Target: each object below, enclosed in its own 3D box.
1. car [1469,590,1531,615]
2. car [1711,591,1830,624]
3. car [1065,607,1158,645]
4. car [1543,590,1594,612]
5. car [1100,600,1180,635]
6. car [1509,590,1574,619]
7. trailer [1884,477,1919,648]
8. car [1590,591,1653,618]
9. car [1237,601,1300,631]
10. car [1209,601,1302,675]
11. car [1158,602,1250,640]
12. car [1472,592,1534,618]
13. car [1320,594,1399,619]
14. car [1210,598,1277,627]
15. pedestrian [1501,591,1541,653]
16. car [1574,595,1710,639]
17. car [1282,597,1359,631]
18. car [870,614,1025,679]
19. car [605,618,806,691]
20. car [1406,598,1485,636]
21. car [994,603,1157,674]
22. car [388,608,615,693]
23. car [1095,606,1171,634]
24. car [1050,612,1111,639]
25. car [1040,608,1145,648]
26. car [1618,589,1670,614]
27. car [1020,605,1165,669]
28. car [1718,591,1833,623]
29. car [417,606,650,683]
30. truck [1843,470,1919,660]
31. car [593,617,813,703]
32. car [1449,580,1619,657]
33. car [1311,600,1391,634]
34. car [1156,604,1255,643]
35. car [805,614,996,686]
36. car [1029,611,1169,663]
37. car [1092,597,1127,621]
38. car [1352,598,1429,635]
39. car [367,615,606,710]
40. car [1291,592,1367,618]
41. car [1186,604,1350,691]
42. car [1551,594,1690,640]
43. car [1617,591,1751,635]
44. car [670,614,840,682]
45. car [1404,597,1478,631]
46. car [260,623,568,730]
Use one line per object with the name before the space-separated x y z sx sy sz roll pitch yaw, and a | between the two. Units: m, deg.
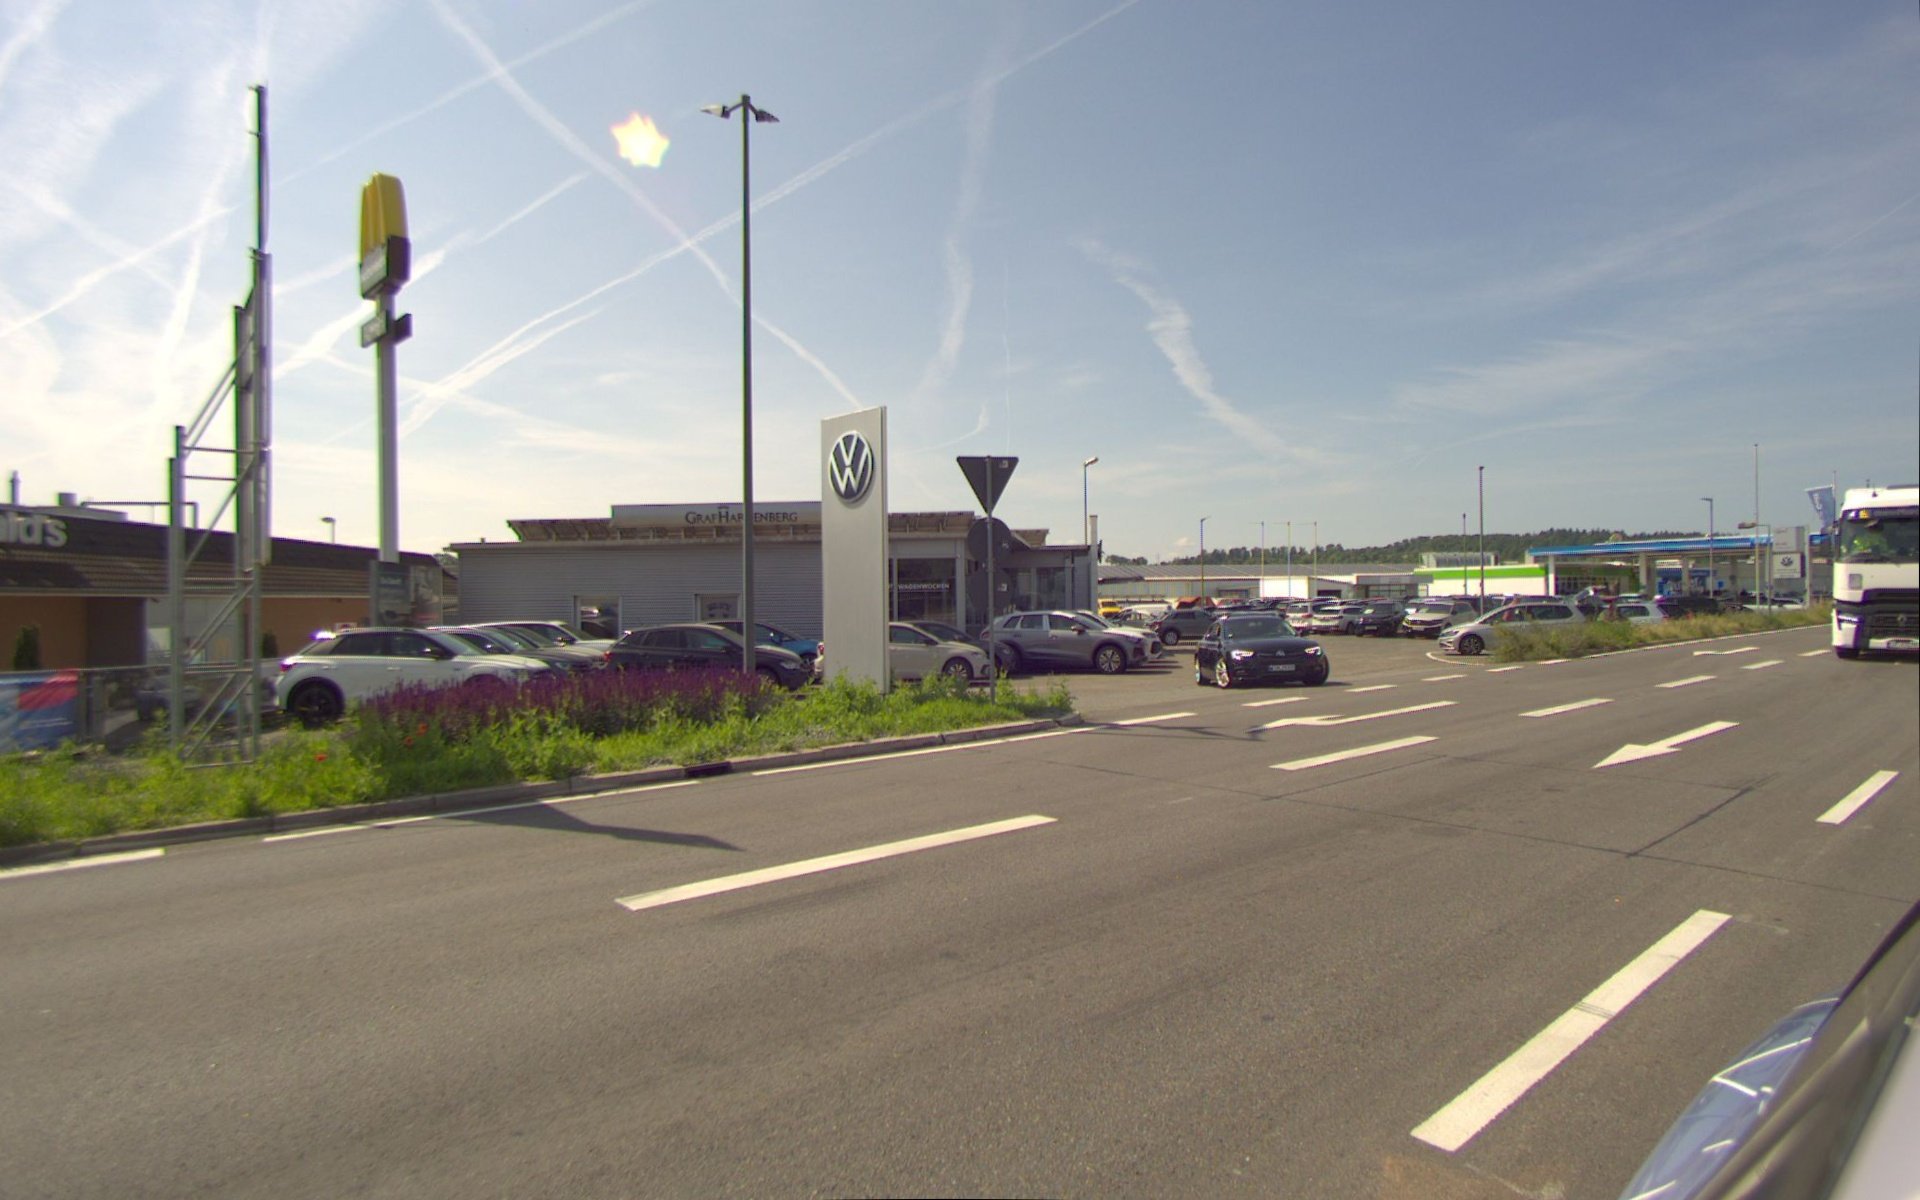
car | 36.978 0.134 69.323 4.449 1.675 1.777 0 1 -32
car | 41.935 0.364 52.511 4.487 1.675 1.762 0 1 24
car | 6.966 1.190 46.888 4.095 1.675 1.774 0 0 4
car | 45.690 0.067 75.969 4.242 1.600 1.722 -1 1 -35
car | 10.779 1.012 60.565 4.484 1.973 1.763 0 0 22
car | 35.504 0.238 61.748 4.452 1.675 1.776 -1 1 -35
trailer | 28.659 -0.975 28.528 11.095 4.281 2.611 -1 1 -41
car | 41.089 0.247 62.860 4.452 1.600 1.776 -1 1 -35
car | 18.783 0.926 61.527 4.464 1.675 1.771 -1 1 -45
car | 7.598 0.917 25.785 1.756 1.675 4.045 -2 0 23
car | 11.246 0.963 46.874 4.009 1.675 1.772 0 0 9
car | 34.347 0.272 63.974 4.452 1.545 1.691 -1 1 -35
car | 24.709 0.378 62.607 4.390 1.449 1.827 0 1 -19
car | 17.922 0.765 63.914 4.453 1.675 1.775 -1 1 -36
pedestrian | 17.917 0.688 32.347 0.974 1.936 0.740 0 0 15
car | 26.118 0.624 38.877 3.941 1.572 1.768 0 1 14
car | 19.921 0.727 55.888 4.452 1.751 1.823 -1 1 -35
car | -0.366 1.124 25.209 3.719 1.495 1.752 0 1 -5
car | -5.521 1.173 22.358 4.072 1.468 1.798 0 1 -5
car | 23.007 0.761 47.871 4.633 1.675 1.904 -1 1 -45
car | 3.045 0.954 26.473 3.974 1.692 1.765 0 1 20
car | -9.685 1.036 21.630 4.087 1.692 1.778 0 0 -5
car | 9.917 1.138 57.930 4.028 1.510 1.764 0 1 21
car | 8.496 1.797 71.410 3.899 1.751 1.953 1 1 43
car | 5.797 1.221 44.646 4.468 1.675 1.774 0 0 4
car | 48.452 0.058 71.674 4.179 1.734 1.714 0 1 -35
car | 3.797 1.002 28.745 3.939 1.692 1.914 0 1 13
car | 43.834 0.336 54.544 4.489 1.675 1.761 0 1 25
car | -9.927 1.005 23.863 4.722 1.692 1.914 0 0 -5
truck | 22.732 -0.776 23.417 5.935 4.037 2.645 0 1 -41
car | -4.981 1.152 20.077 4.008 1.551 1.778 0 0 -5
car | 17.486 0.508 31.073 4.295 2.240 1.752 0 0 20
car | 20.552 0.847 53.099 4.453 1.675 1.776 -1 1 -36
car | 10.658 1.017 44.217 4.008 1.629 1.690 0 -1 8
car | -1.361 1.097 22.968 4.179 1.510 1.751 0 0 -5
car | 4.267 1.096 31.225 4.141 1.475 1.890 0 1 9
car | 13.035 0.768 88.730 2.167 1.955 4.164 0 1 -4
car | 21.175 0.756 49.706 4.464 1.675 1.964 -1 1 -45
car | -9.054 1.170 19.626 3.831 1.692 1.778 0 0 -5
car | 23.681 0.307 64.932 4.442 1.603 1.827 0 1 -19
car | 5.829 0.924 19.825 1.931 1.350 4.808 -4 -3 4
car | 24.009 0.599 36.948 3.953 1.578 1.700 0 1 22
car | 28.742 0.486 40.321 3.945 1.675 1.766 0 1 17
car | -4.879 1.134 24.556 3.881 1.537 1.778 0 0 -5
car | 25.621 0.712 53.825 4.352 1.675 1.775 -1 1 -38
car | -8.979 1.220 16.945 4.149 1.596 1.863 0 1 -5
